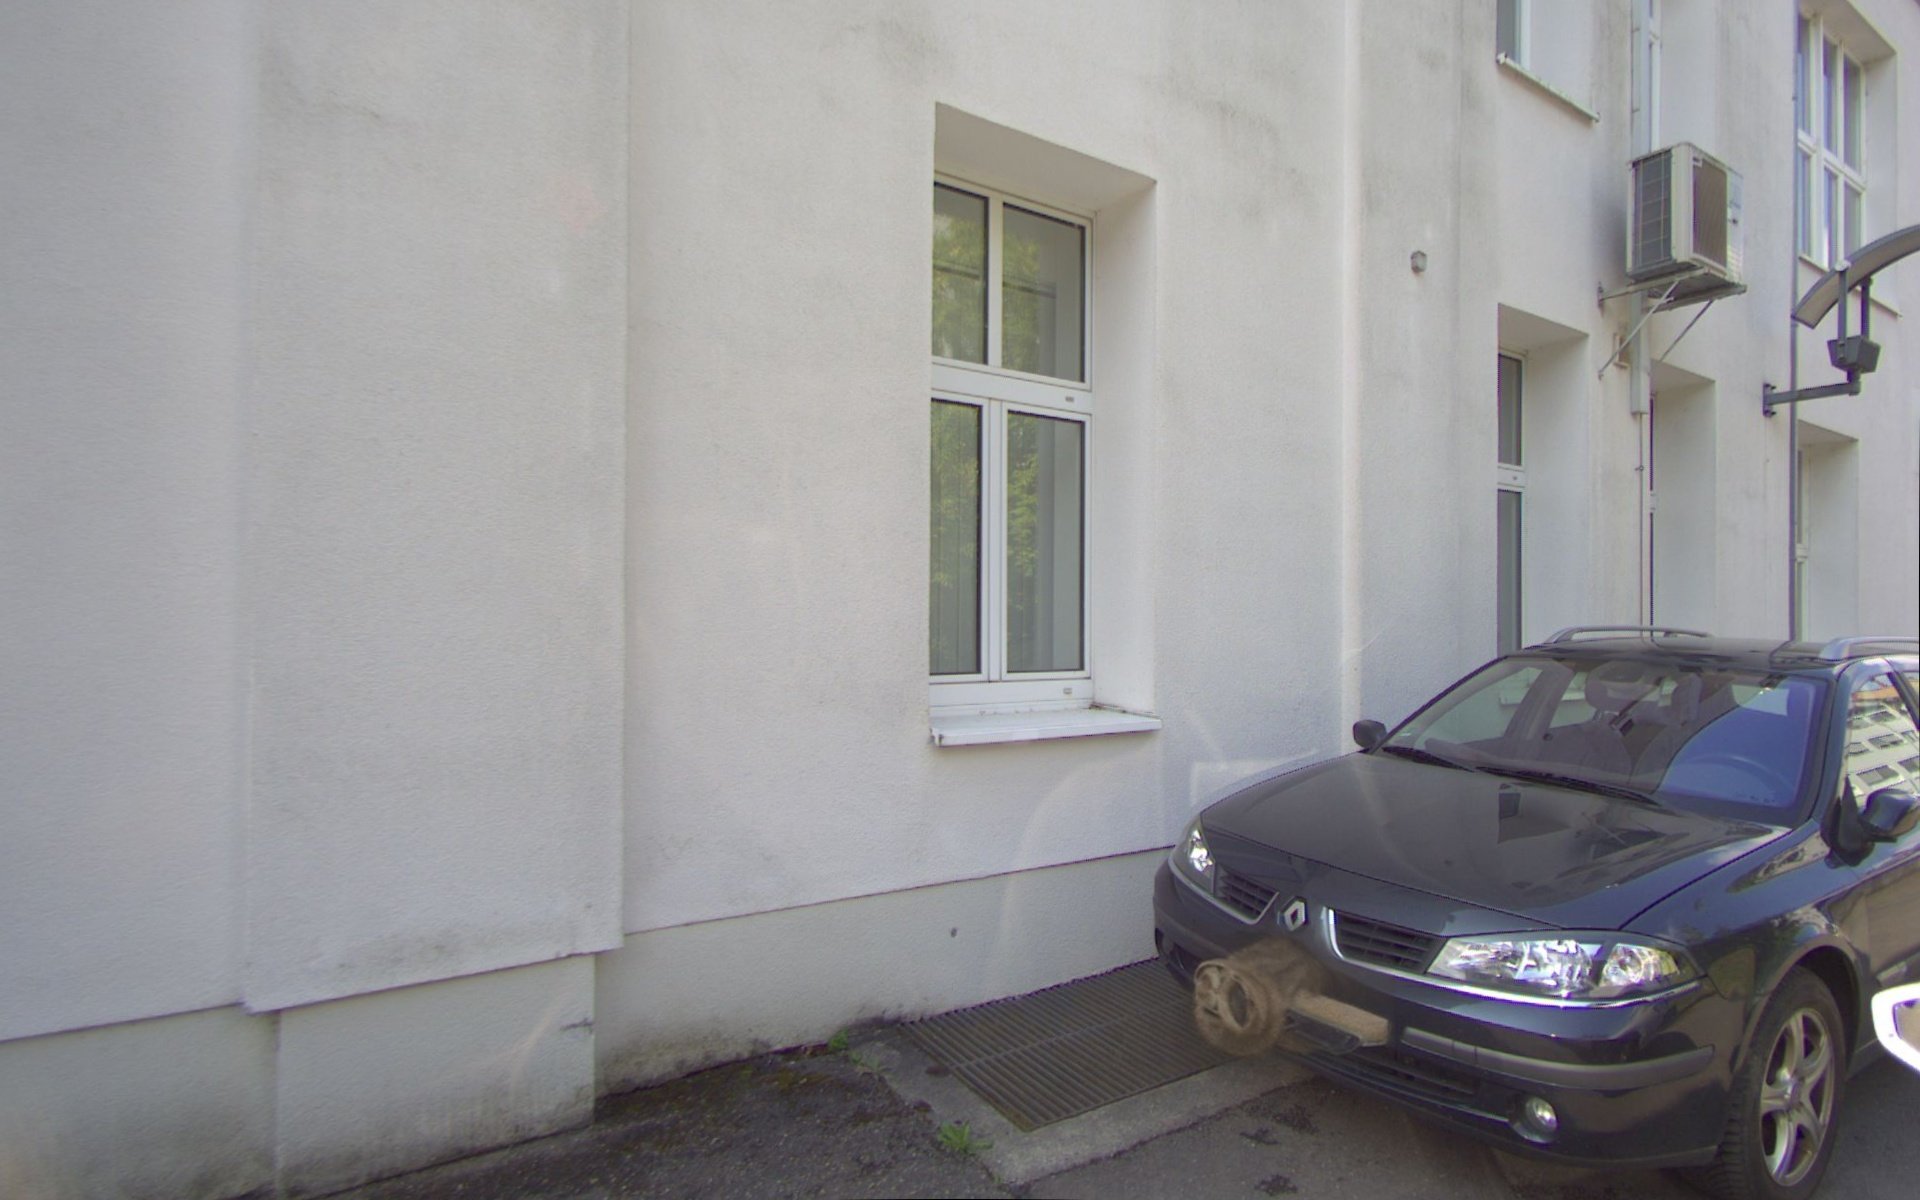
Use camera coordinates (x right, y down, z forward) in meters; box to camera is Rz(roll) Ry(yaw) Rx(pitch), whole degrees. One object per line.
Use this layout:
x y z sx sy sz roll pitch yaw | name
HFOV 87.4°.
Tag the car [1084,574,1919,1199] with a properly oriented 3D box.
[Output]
2.756 0.800 3.950 4.297 1.461 1.867 4 0 -34 | car
